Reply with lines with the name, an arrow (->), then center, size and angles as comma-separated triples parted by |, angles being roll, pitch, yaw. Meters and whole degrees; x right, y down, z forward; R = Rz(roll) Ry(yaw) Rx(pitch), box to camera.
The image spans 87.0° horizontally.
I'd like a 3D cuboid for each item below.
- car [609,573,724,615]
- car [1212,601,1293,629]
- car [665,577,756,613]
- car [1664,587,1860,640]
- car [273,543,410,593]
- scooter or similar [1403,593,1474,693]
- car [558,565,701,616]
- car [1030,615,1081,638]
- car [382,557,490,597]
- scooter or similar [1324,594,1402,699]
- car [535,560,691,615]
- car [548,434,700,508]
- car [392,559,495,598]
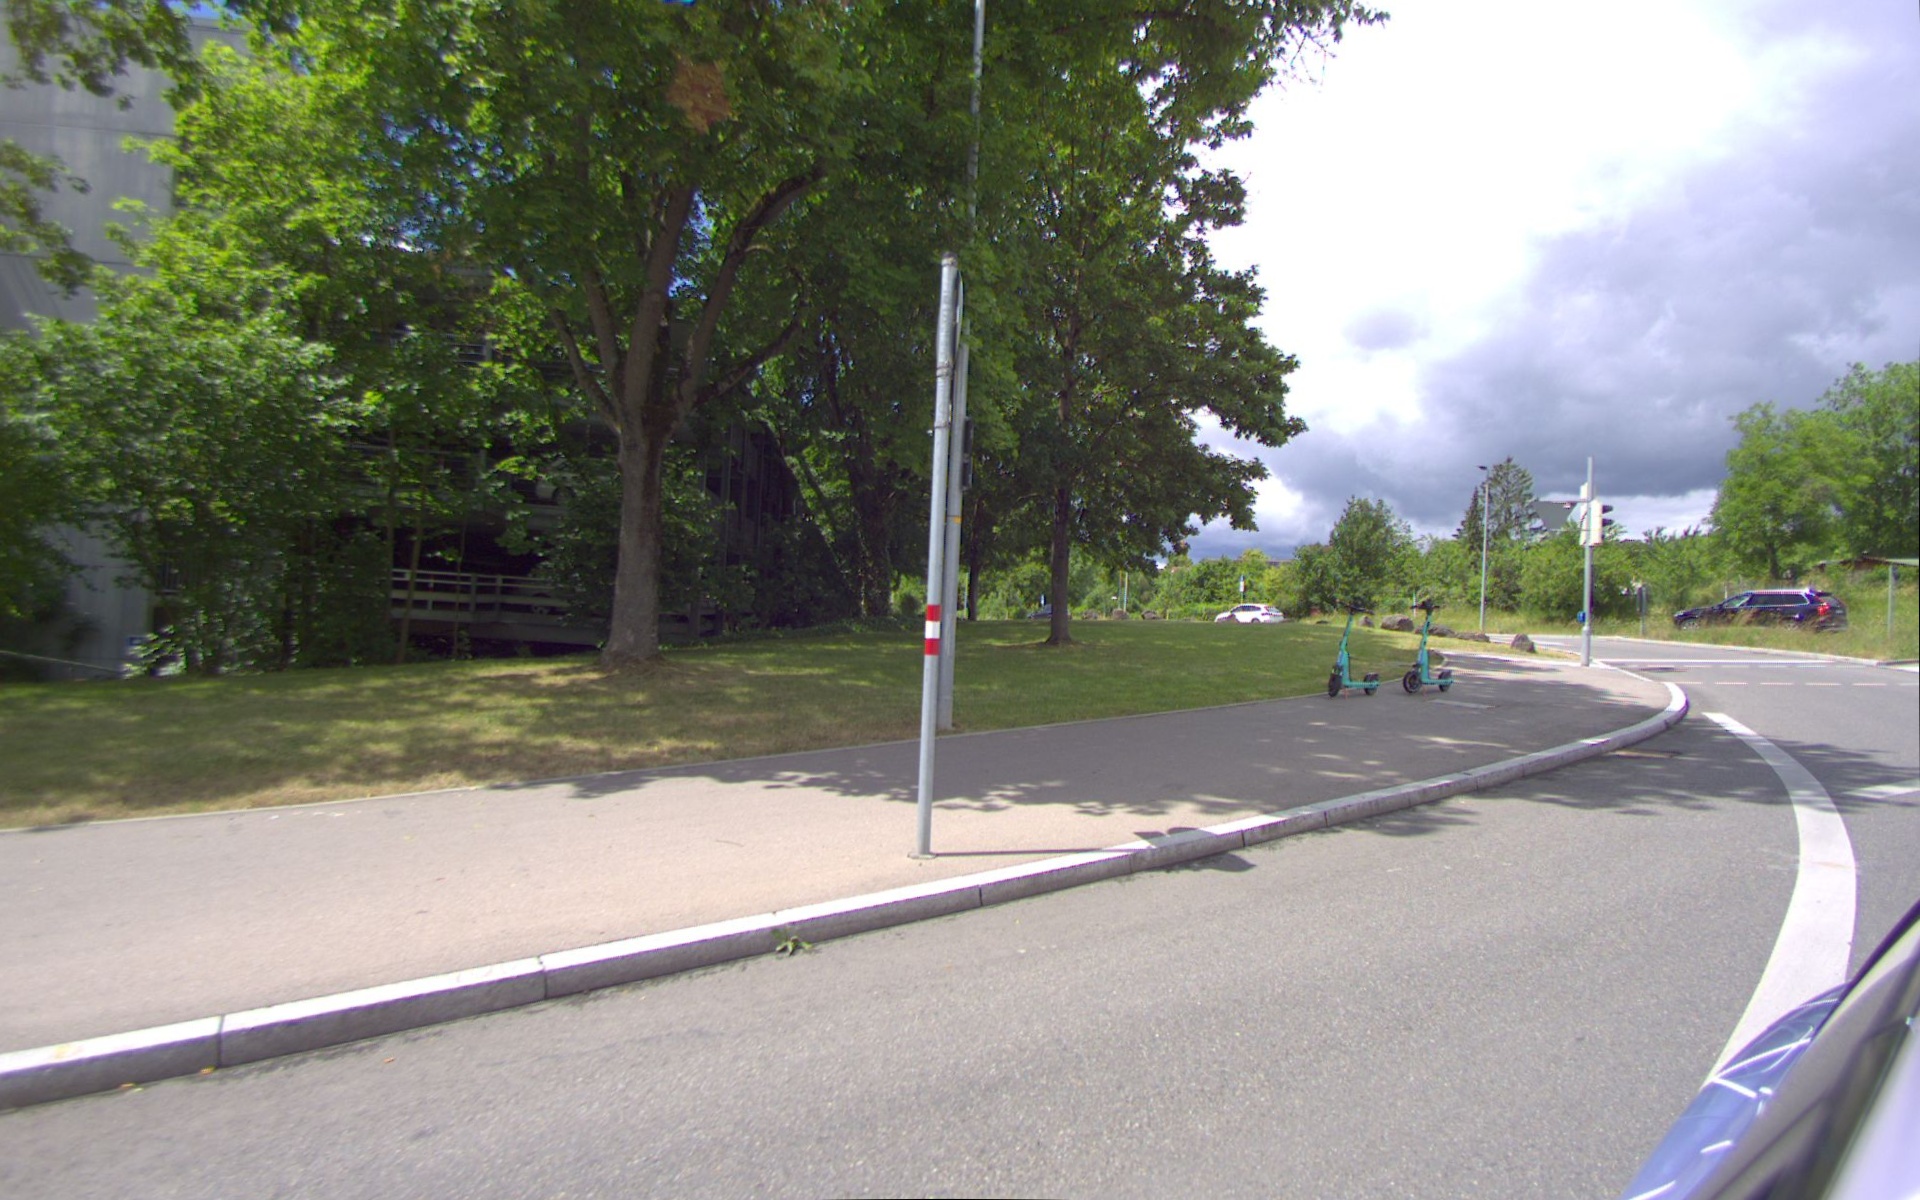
car -> -10.609, -0.194, 36.790 | 3.722, 1.309, 1.778 | 2, -1, -5
car -> 16.321, 0.842, 56.625 | 1.590, 1.488, 4.380 | -1, 0, -32
car -> -11.300, -0.211, 46.011 | 3.722, 1.410, 1.778 | 2, -1, -5
car -> 27.749, 0.442, 35.232 | 1.872, 1.711, 4.989 | 0, 0, -27
car -> -21.717, -1.105, 35.649 | 3.708, 1.388, 1.596 | 4, -2, -5
scooter or similar -> 6.482, 0.549, 13.694 | 0.532, 1.280, 1.172 | 2, 1, 42
car -> -9.817, -0.268, 30.324 | 3.722, 1.309, 1.778 | 2, -1, -5
car -> 6.939, 1.917, 74.047 | 1.754, 1.598, 4.170 | 2, -1, -26
car -> -22.345, -0.948, 43.236 | 3.708, 1.388, 1.596 | 4, -2, -5
scooter or similar -> 5.229, 0.570, 13.108 | 0.532, 1.280, 1.172 | 2, 1, 42
car -> -9.552, -0.307, 28.100 | 3.722, 1.309, 1.778 | 2, -1, -5
car -> -9.224, -3.547, 28.023 | 3.630, 1.562, 1.728 | 2, -3, -4
car -> -22.970, -0.945, 45.113 | 3.708, 1.388, 1.596 | 4, -2, -5
